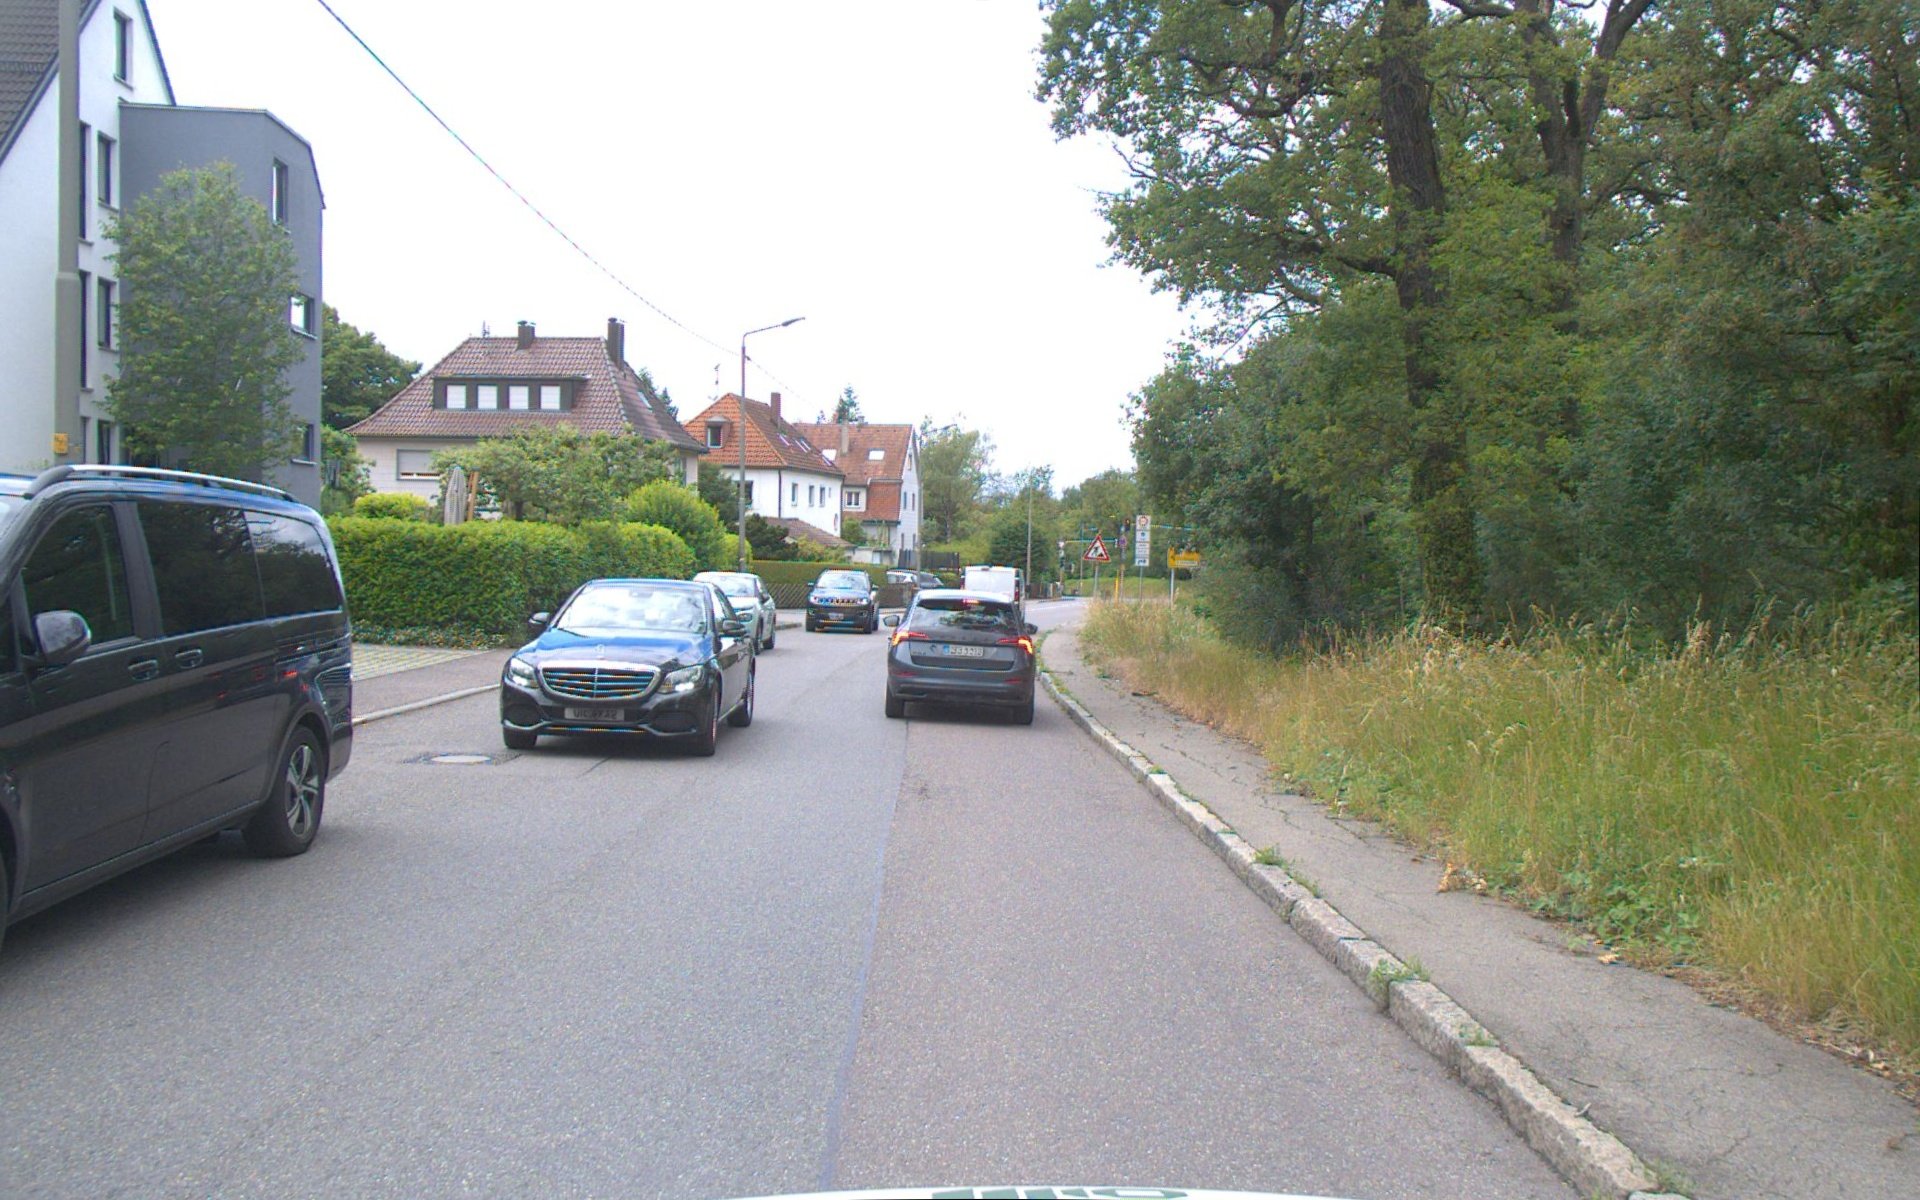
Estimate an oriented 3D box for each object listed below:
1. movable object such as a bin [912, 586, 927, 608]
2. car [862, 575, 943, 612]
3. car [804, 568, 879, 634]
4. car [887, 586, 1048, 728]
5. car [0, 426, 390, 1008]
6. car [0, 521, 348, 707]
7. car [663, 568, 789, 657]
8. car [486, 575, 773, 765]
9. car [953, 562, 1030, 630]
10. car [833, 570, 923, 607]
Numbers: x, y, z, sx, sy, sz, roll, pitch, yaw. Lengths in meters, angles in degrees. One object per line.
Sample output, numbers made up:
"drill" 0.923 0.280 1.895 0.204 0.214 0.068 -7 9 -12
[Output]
"movable object such as a bin" -1.799 -0.124 74.267 0.586 0.967 0.580 1 1 6
"car" -2.860 -0.347 83.110 3.904 1.735 1.917 2 0 1
"car" -3.169 -0.005 45.075 1.797 1.624 4.323 2 1 -2
"car" 0.028 0.600 20.047 1.693 1.464 4.322 2 1 -2
"car" -4.165 0.350 6.995 1.825 1.960 5.036 2 0 -2
"car" -8.837 0.111 16.757 4.525 1.727 1.998 1 0 -5
"car" -4.443 0.208 31.974 1.747 1.526 4.015 2 0 1
"car" -2.888 0.539 15.450 1.825 1.439 4.591 2 0 -2
"car" 1.039 -0.136 51.254 2.028 1.955 4.925 2 1 5
"car" -3.867 -0.563 78.162 3.902 1.646 2.002 1 1 8
